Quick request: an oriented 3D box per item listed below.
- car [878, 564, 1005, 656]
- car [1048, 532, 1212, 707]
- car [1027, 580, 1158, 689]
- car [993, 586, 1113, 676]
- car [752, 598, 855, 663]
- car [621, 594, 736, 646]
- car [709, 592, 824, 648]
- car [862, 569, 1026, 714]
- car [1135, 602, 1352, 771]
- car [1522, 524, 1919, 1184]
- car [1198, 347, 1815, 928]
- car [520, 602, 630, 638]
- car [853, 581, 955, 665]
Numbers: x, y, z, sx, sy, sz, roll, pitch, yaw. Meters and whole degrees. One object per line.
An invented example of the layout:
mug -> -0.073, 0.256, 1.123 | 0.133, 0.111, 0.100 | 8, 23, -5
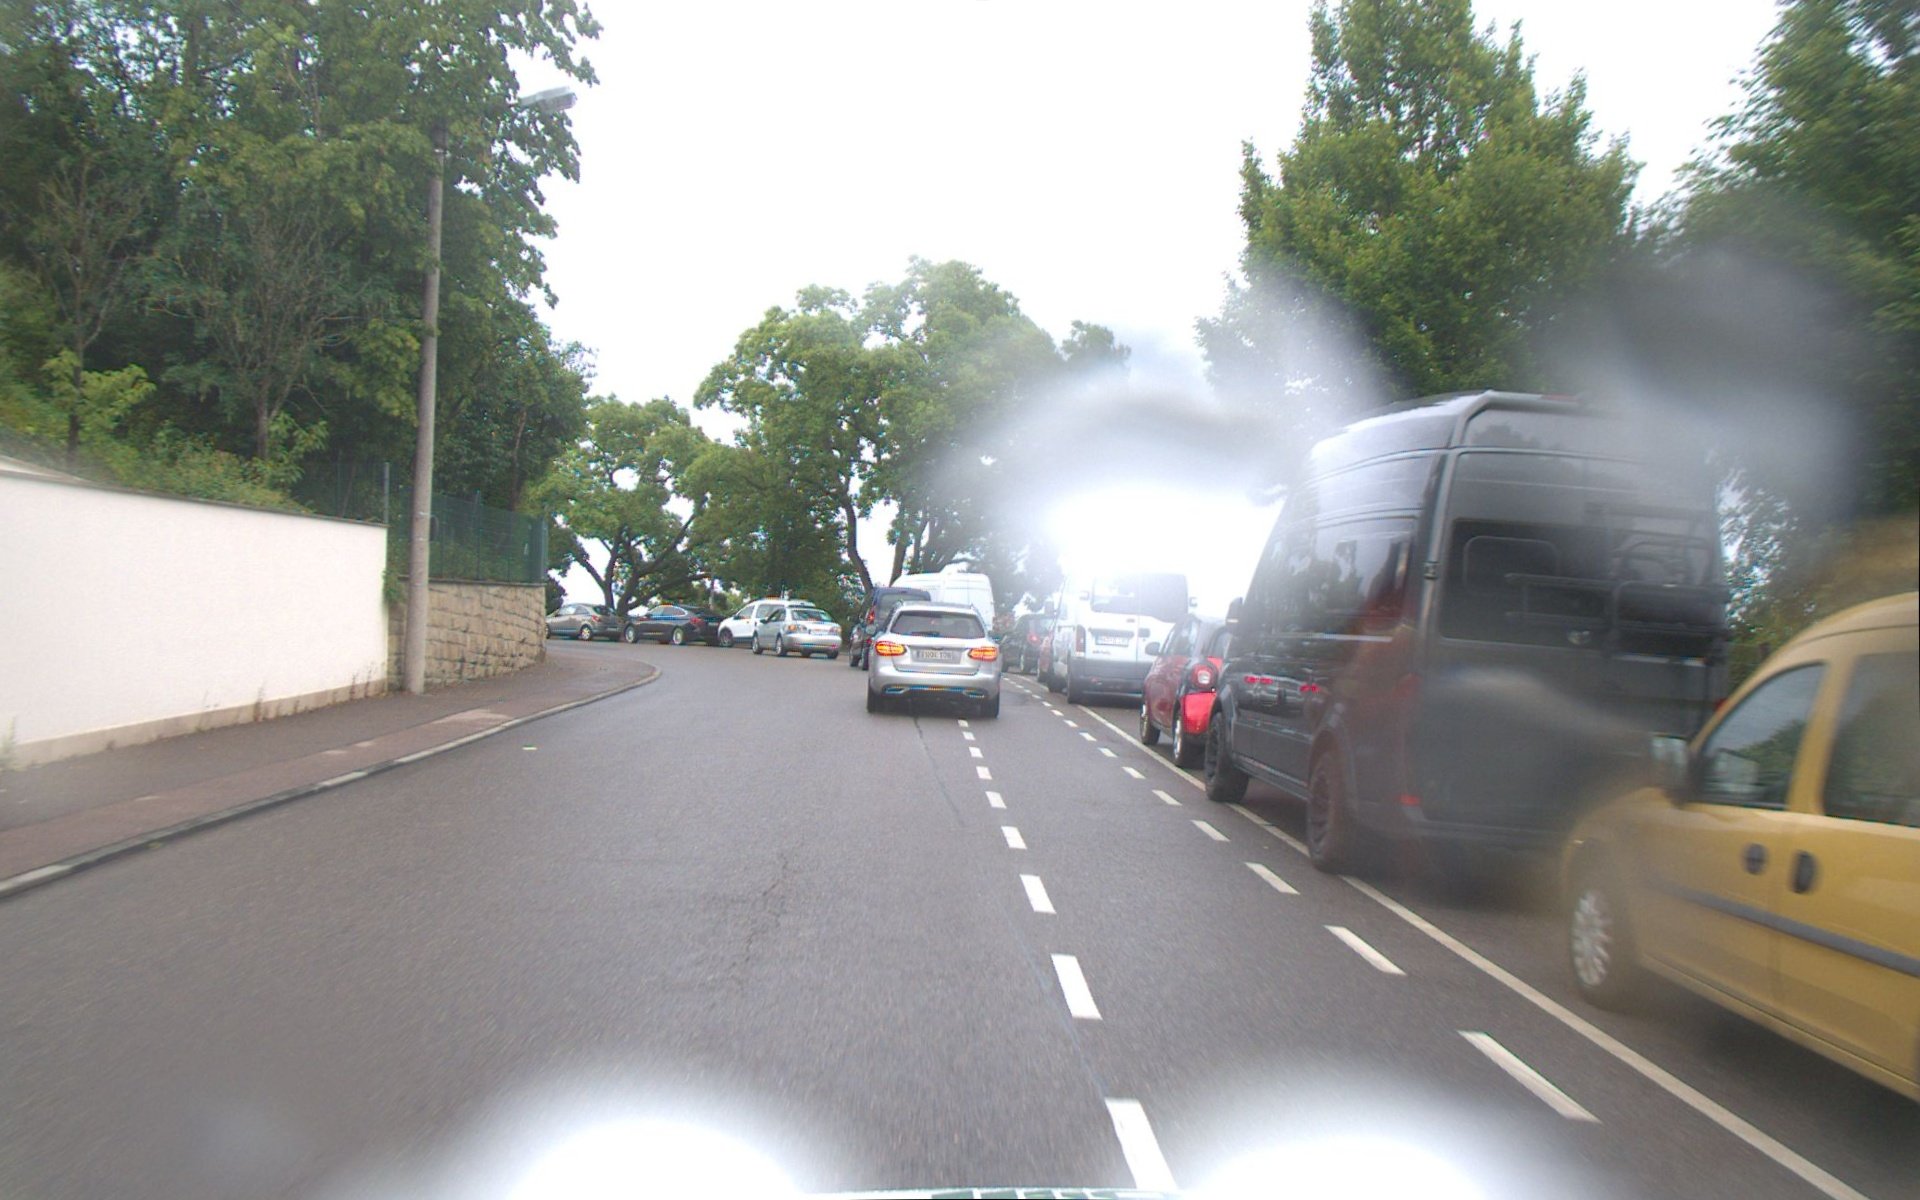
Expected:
car -> -0.615, 0.264, 50.565 | 2.099, 2.571, 4.460 | 3, 0, -26
car -> 2.721, 0.297, 27.562 | 2.022, 2.537, 4.758 | 3, 0, -1
car -> 2.669, 0.673, 34.399 | 2.023, 1.994, 4.493 | 3, 0, -3
car -> 2.248, 0.722, 41.180 | 2.026, 1.994, 4.488 | 3, 0, -8
car -> -4.597, 0.876, 48.192 | 1.964, 1.738, 3.976 | 3, -1, -20
car -> -10.950, 0.763, 64.151 | 4.590, 1.727, 1.957 | 3, 0, 44
car -> -7.113, 0.715, 60.589 | 1.953, 1.727, 4.430 | 4, 0, -41
car -> -0.262, 0.528, 22.924 | 1.984, 1.738, 4.214 | 3, 0, -2
car -> 2.956, 0.845, 17.929 | 1.551, 1.554, 3.584 | 3, 0, -2
car -> 3.522, 0.764, 5.463 | 1.693, 1.816, 4.275 | 5, 0, -1
car -> 3.300, 0.200, 11.581 | 2.082, 2.937, 5.766 | 3, 0, -2
car -> -15.781, 0.808, 67.704 | 4.403, 1.426, 1.964 | 0, 0, 34
car -> -1.340, 0.538, 38.172 | 1.956, 1.738, 3.994 | 3, -1, -7
